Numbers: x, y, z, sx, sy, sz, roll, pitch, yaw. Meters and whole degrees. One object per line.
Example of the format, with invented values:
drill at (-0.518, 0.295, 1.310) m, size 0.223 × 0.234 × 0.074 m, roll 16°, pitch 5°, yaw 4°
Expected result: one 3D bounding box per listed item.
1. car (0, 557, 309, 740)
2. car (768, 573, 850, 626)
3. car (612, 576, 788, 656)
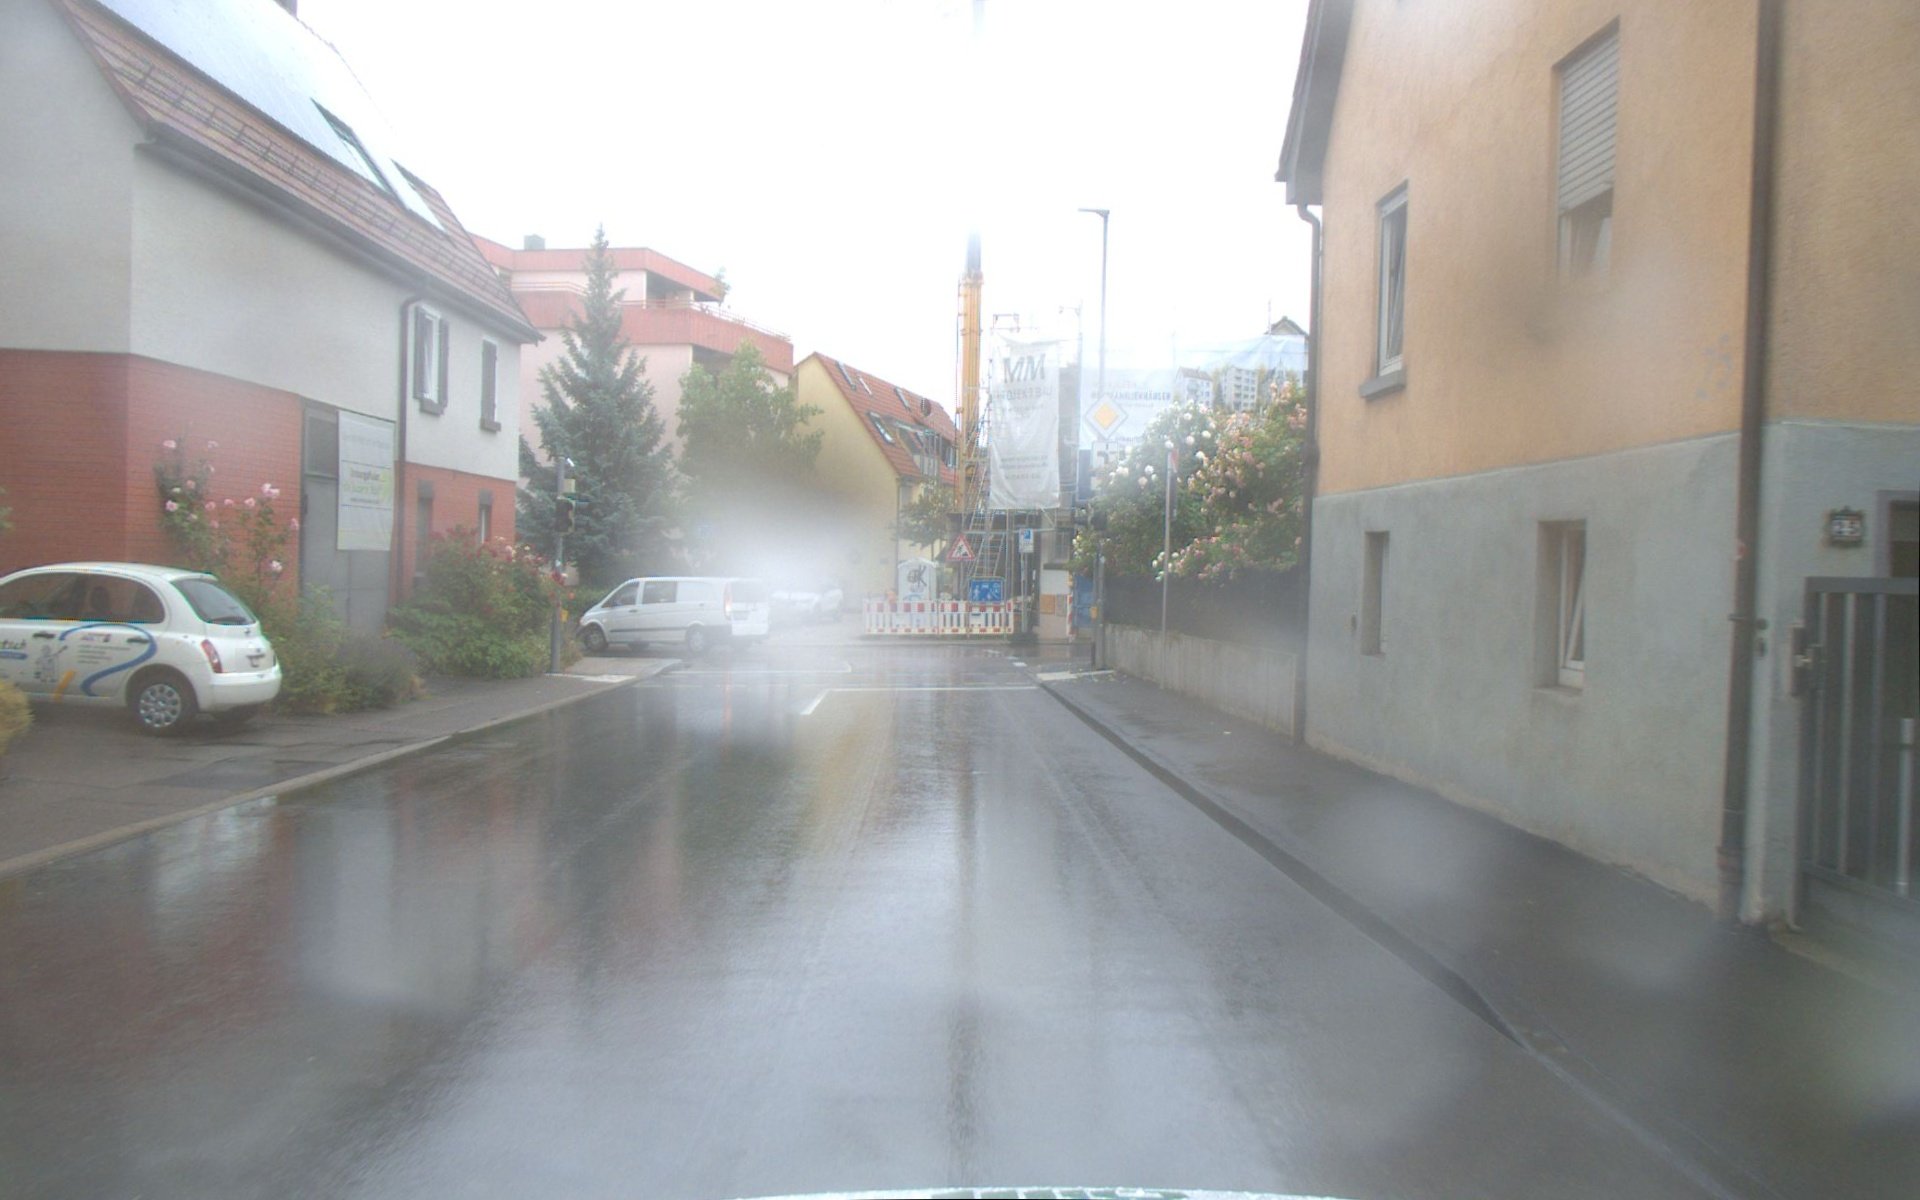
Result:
car at (-8.438, 0.418, 16.084) m, size 3.473 × 1.555 × 1.663 m, roll 3°, pitch 0°, yaw -1°
car at (-5.166, -0.049, 56.964) m, size 1.566 × 1.707 × 3.942 m, roll 2°, pitch 2°, yaw 14°
car at (-6.532, 0.388, 41.447) m, size 3.916 × 1.902 × 2.182 m, roll 1°, pitch 0°, yaw 33°
